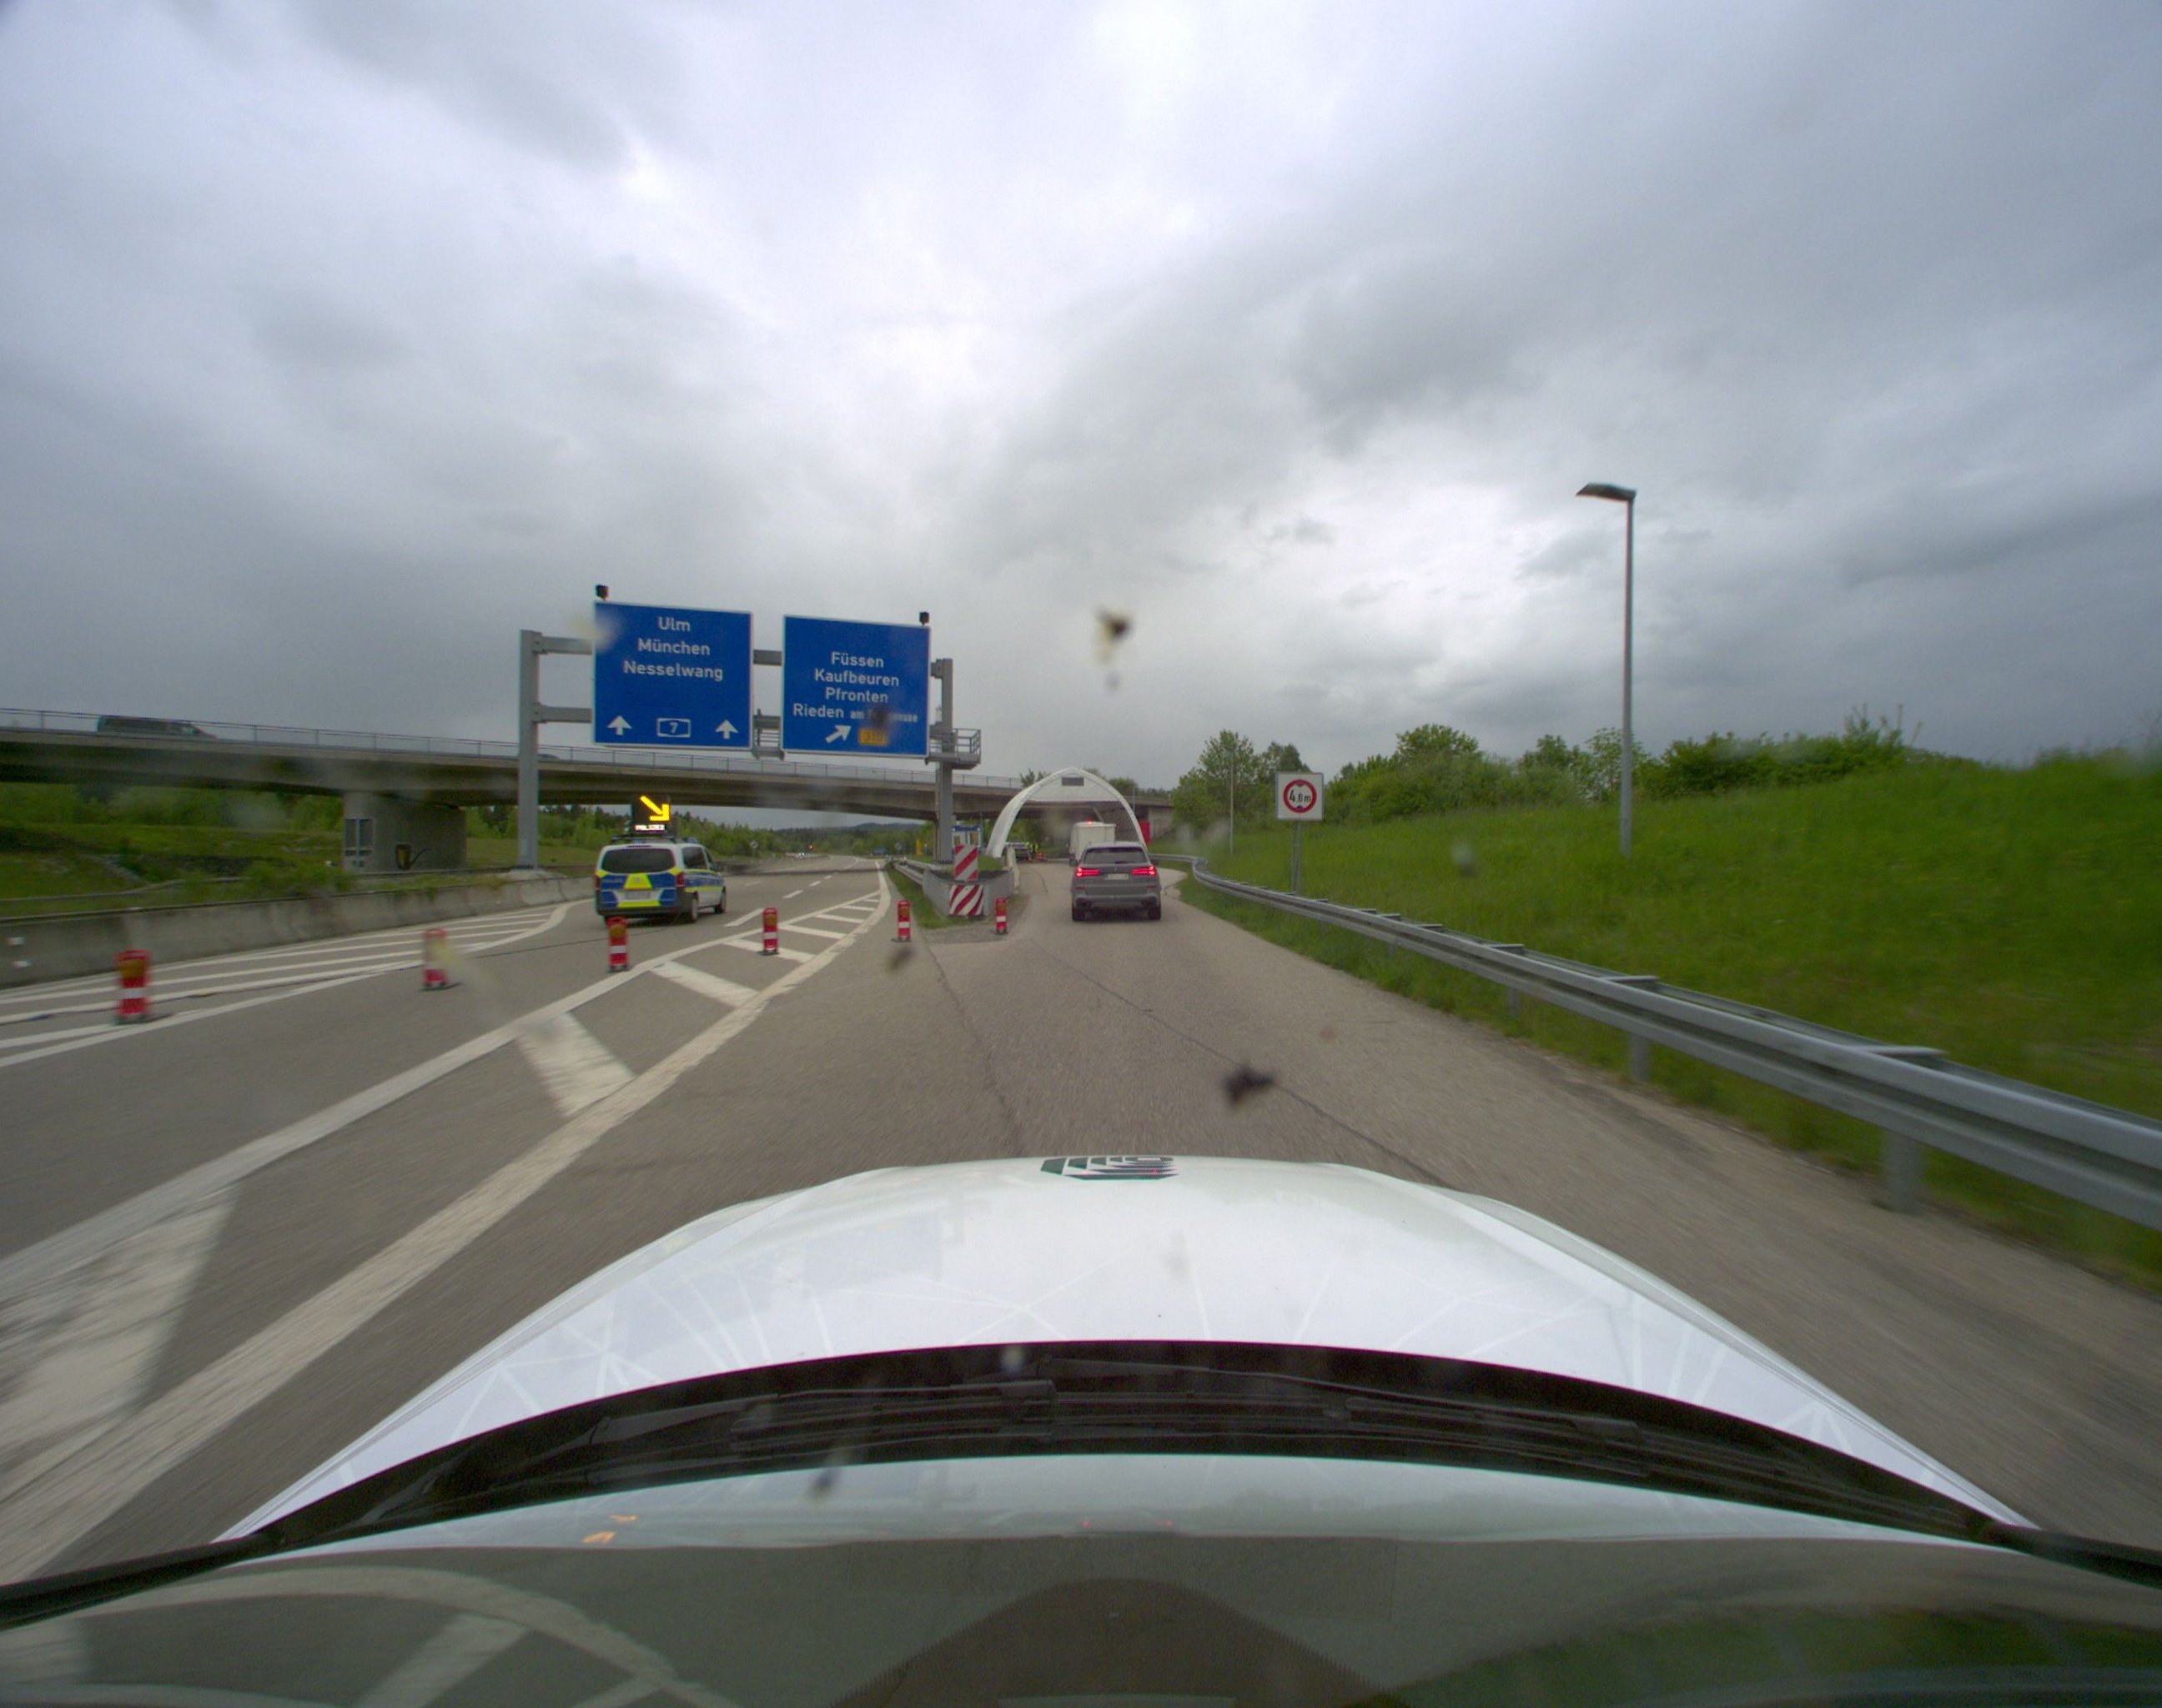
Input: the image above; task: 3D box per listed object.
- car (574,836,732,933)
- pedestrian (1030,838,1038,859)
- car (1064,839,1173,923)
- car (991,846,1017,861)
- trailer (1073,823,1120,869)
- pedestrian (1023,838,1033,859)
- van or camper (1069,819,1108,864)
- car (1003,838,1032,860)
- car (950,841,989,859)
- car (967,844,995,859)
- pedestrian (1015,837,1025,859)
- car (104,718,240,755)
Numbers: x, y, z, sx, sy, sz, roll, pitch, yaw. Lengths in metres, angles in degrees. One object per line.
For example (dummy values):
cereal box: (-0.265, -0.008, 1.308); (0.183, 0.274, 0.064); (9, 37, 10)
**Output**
car: (-10.252, 0.623, 20.010); (2.290, 2.013, 5.025); (-1, 1, -15)
pedestrian: (-4.132, -0.481, 71.655); (0.648, 1.775, 0.603); (-2, 0, -12)
car: (0.994, 0.562, 19.011); (1.981, 1.719, 4.011); (-1, 0, 10)
car: (-10.336, -0.063, 109.585); (2.006, 2.013, 3.962); (-2, 0, -29)
trailer: (0.798, -0.396, 47.411); (2.273, 2.430, 6.811); (-1, 0, -2)
pedestrian: (-4.577, -0.447, 70.706); (0.720, 1.775, 0.688); (-2, 0, -10)
van or camper: (0.413, -0.747, 53.738); (2.152, 2.763, 5.863); (-1, 0, -3)
car: (-5.346, -0.402, 68.151); (1.994, 1.772, 3.752); (-2, 0, -10)
car: (-12.428, -0.421, 90.713); (3.968, 1.854, 1.712); (-2, 0, 5)
car: (-10.249, -0.212, 83.334); (1.526, 1.442, 3.279); (-2, 0, -36)
pedestrian: (-5.398, -0.508, 71.780); (0.720, 1.945, 0.688); (-2, 0, -10)
car: (-52.969, -6.822, 47.620); (4.962, 1.648, 1.977); (-2, 0, -38)
